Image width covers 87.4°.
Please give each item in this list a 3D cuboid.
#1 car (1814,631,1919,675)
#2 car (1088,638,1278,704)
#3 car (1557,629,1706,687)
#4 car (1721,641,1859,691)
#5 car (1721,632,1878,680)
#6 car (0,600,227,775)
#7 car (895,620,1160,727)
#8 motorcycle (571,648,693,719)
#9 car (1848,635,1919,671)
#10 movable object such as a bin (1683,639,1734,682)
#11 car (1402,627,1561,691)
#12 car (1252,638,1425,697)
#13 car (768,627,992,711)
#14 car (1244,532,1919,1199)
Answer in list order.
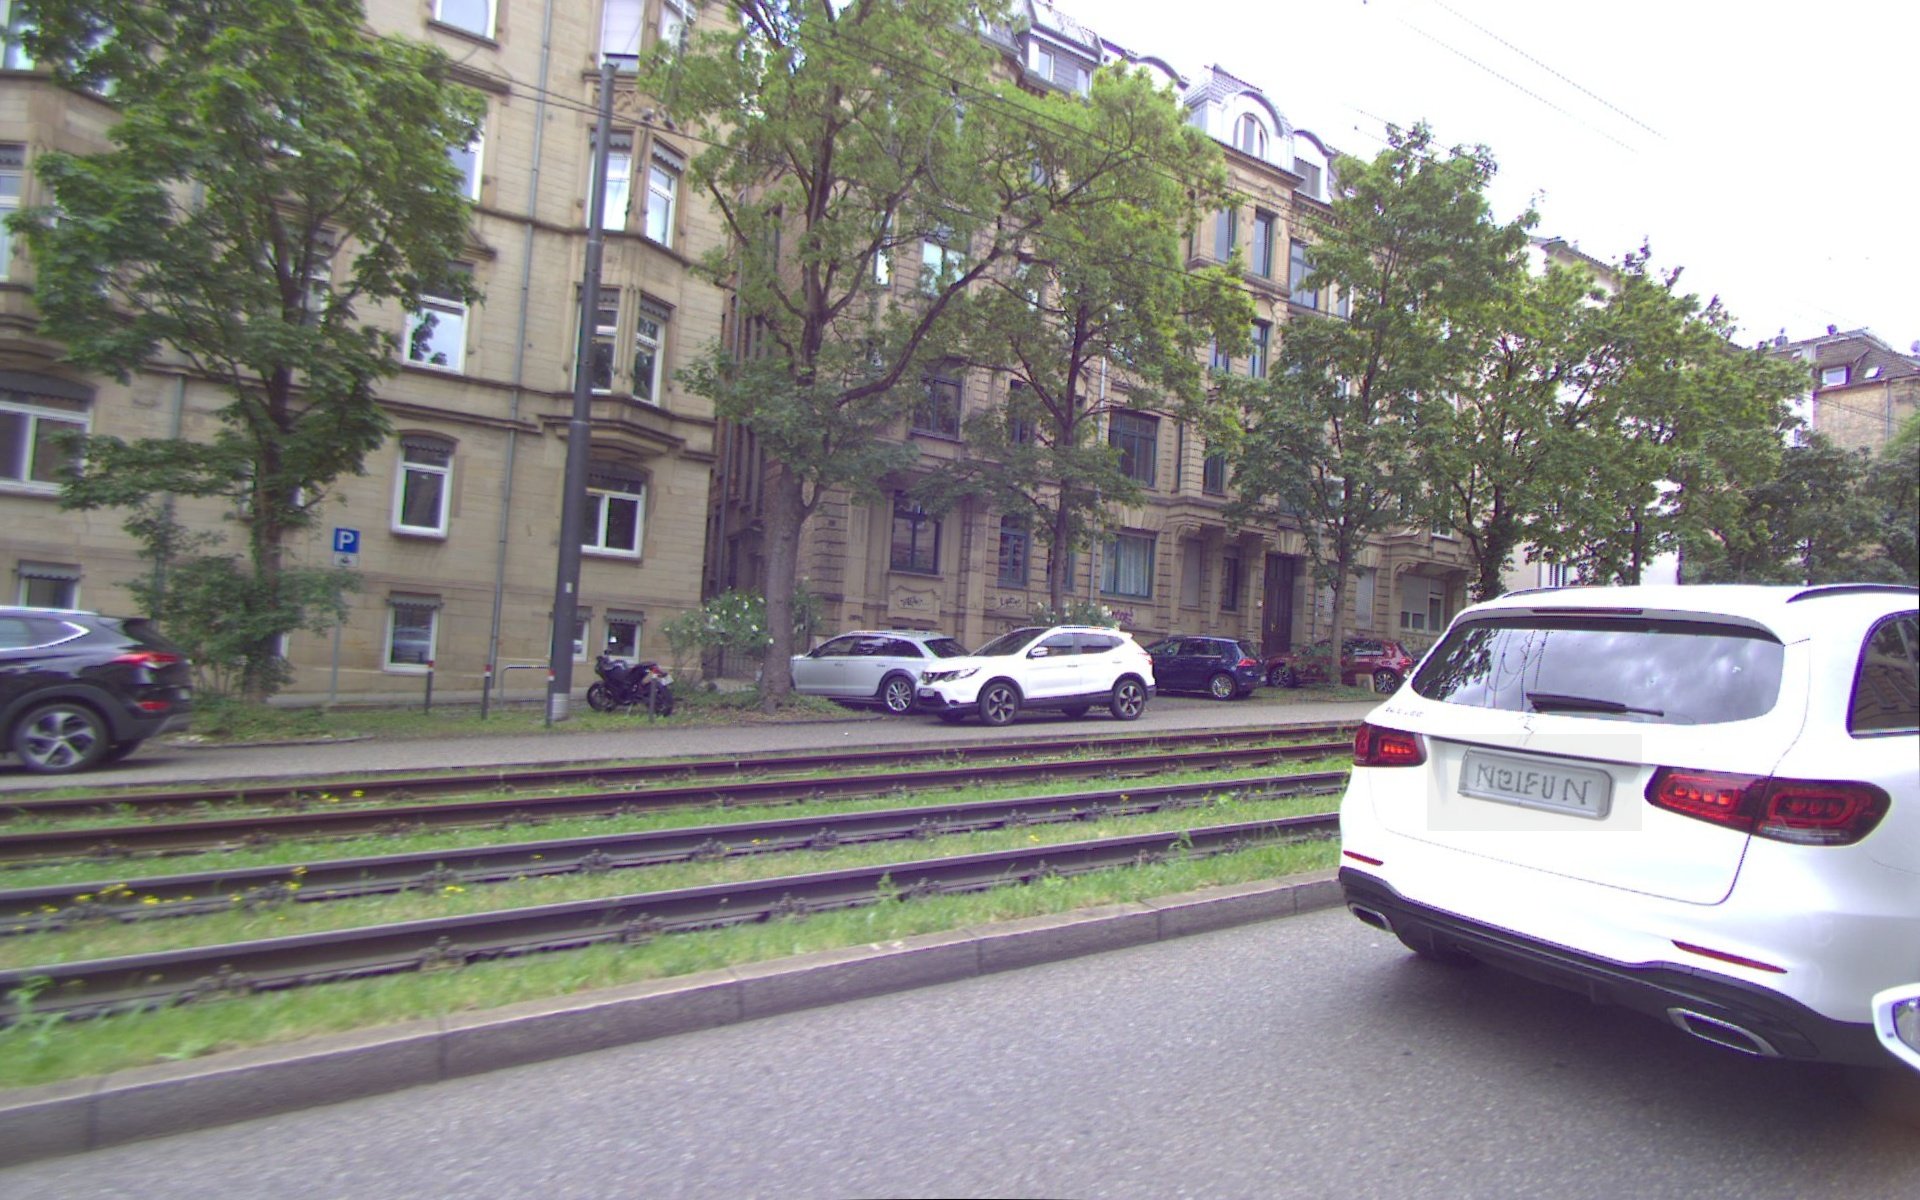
[{"bbox_3d":[41.554,2.375,45.080,4.514,1.821,1.937,1,0,14],"label":"car"},{"bbox_3d":[5.374,1.663,24.407,4.122,1.454,1.866,-1,-2,35],"label":"car"},{"bbox_3d":[22.838,1.933,34.319,4.121,1.860,1.866,-1,-2,34],"label":"car"},{"bbox_3d":[25.697,2.035,31.084,4.442,1.454,1.857,2,-5,-31],"label":"car"},{"bbox_3d":[33.830,2.207,40.644,4.523,1.704,1.934,1,-1,28],"label":"car"},{"bbox_3d":[-10.130,0.868,10.131,4.192,1.678,1.773,2,-4,-30],"label":"car"},{"bbox_3d":[1.191,1.223,17.212,4.294,1.637,1.773,2,-4,-30],"label":"car"},{"bbox_3d":[-5.644,1.410,17.247,2.165,1.072,0.624,1,-1,27],"label":"motorcycle"},{"bbox_3d":[46.248,2.575,48.617,4.522,1.639,1.934,1,-1,27],"label":"car"},{"bbox_3d":[25.991,2.095,34.882,1.261,1.419,1.089,0,-1,45],"label":"movable object such as a bin"},{"bbox_3d":[15.622,1.726,30.129,4.118,1.791,1.868,-1,-2,31],"label":"car"},{"bbox_3d":[10.240,1.773,27.249,4.118,1.454,1.868,-1,-2,31],"label":"car"},{"bbox_3d":[-1.597,1.348,19.668,4.080,1.488,1.784,-2,-4,29],"label":"car"},{"bbox_3d":[3.573,0.743,4.352,4.616,1.689,1.827,2,-1,-31],"label":"car"}]
